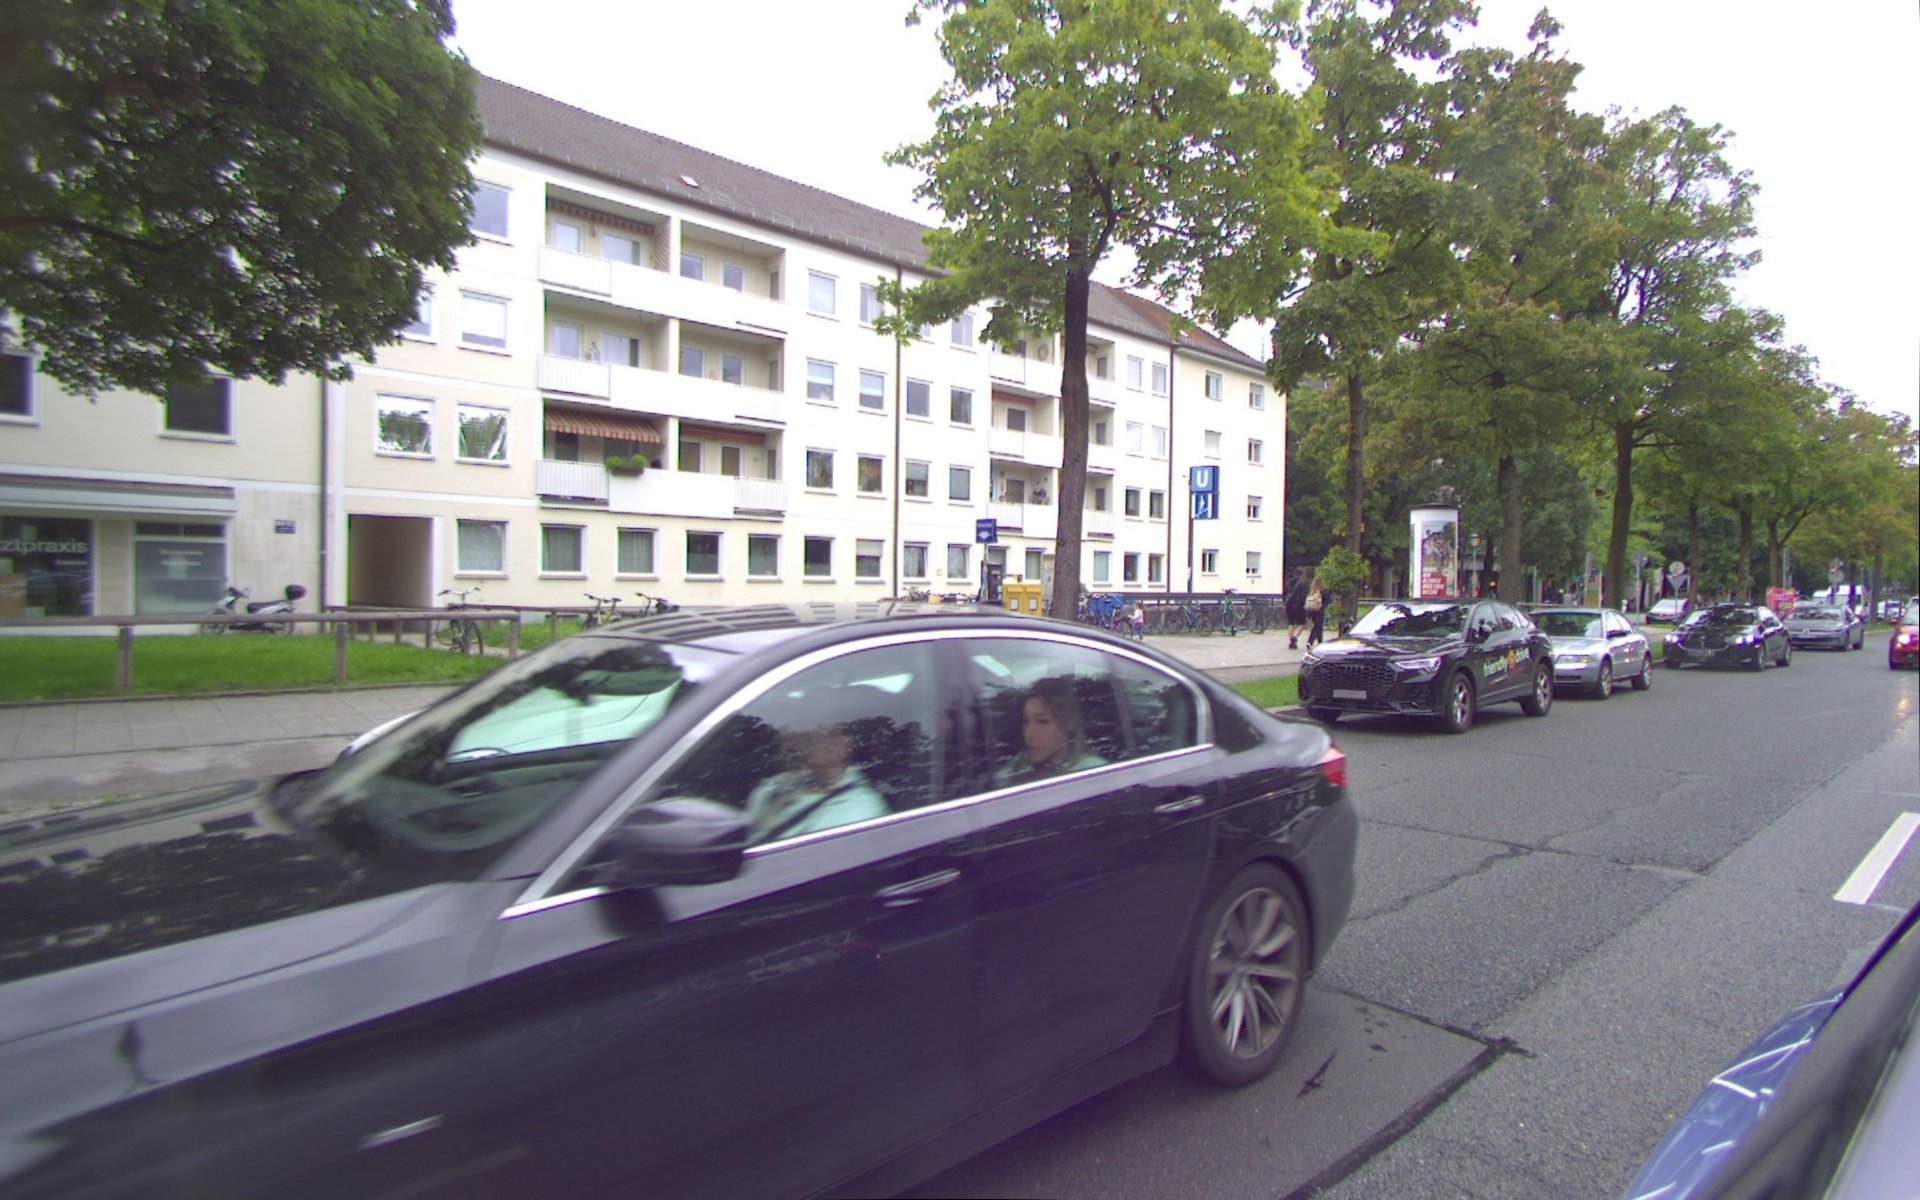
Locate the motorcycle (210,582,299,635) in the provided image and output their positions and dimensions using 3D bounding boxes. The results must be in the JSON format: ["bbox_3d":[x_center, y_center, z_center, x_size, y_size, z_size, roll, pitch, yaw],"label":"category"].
[{"bbox_3d":[-15.884,0.180,22.802,1.593,1.134,0.606,0,1,-41],"label":"motorcycle"}]

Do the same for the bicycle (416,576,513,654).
[{"bbox_3d":[-7.314,0.188,14.886,2.027,1.081,0.653,1,1,45],"label":"bicycle"}]

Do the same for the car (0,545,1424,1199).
[{"bbox_3d":[-0.626,0.693,2.853,4.610,1.496,1.824,0,-1,-42],"label":"car"}]

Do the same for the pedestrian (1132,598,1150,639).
[{"bbox_3d":[4.195,0.413,23.471,0.333,0.932,0.393,1,0,21],"label":"pedestrian"}]

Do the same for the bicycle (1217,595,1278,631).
[{"bbox_3d":[8.098,0.342,28.527,0.491,0.927,1.595,0,2,-45],"label":"bicycle"}]

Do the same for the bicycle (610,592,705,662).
[{"bbox_3d":[-5.128,0.424,17.103,2.027,1.081,0.653,1,1,45],"label":"bicycle"}]

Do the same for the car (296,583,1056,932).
[{"bbox_3d":[-1.514,0.662,6.318,4.213,1.455,1.824,0,-1,-41],"label":"car"}]

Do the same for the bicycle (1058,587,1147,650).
[{"bbox_3d":[2.870,0.354,20.223,2.039,1.203,0.545,0,1,-41],"label":"bicycle"}]

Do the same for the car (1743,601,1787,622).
[{"bbox_3d":[60.427,0.845,75.940,4.226,1.487,1.825,0,1,-41],"label":"car"}]

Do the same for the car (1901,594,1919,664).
[{"bbox_3d":[22.715,0.636,22.952,4.228,1.519,1.720,0,1,-43],"label":"car"}]

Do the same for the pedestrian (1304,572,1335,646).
[{"bbox_3d":[7.961,0.189,22.427,0.555,1.625,0.515,1,0,29],"label":"pedestrian"}]

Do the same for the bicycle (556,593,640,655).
[{"bbox_3d":[-6.738,0.417,18.783,2.027,1.081,0.653,1,1,45],"label":"bicycle"}]

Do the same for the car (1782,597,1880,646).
[{"bbox_3d":[28.078,0.640,32.597,4.226,1.487,1.825,0,1,-41],"label":"car"}]

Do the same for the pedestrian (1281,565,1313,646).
[{"bbox_3d":[7.587,0.111,22.764,0.555,1.778,0.651,1,0,29],"label":"pedestrian"}]

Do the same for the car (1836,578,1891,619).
[{"bbox_3d":[56.699,-0.143,63.490,4.913,2.485,1.997,-1,0,-41],"label":"car"}]

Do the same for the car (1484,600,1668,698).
[{"bbox_3d":[10.209,0.711,16.663,3.860,1.397,1.615,0,1,-43],"label":"car"}]

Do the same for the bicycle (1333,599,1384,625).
[{"bbox_3d":[12.411,0.361,31.536,1.389,0.722,0.491,4,3,45],"label":"bicycle"}]

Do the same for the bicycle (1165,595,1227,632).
[{"bbox_3d":[6.283,0.348,27.016,1.595,0.927,0.491,1,1,45],"label":"bicycle"}]

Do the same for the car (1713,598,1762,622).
[{"bbox_3d":[51.510,0.637,67.034,4.226,1.487,1.825,0,1,-41],"label":"car"}]

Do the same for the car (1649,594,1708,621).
[{"bbox_3d":[41.134,0.404,57.915,4.226,1.487,1.825,0,1,-41],"label":"car"}]

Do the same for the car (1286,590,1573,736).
[{"bbox_3d":[6.007,0.654,12.740,4.086,1.530,1.824,0,1,-42],"label":"car"}]

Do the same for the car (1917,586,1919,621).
[{"bbox_3d":[56.289,0.186,57.908,4.226,1.975,1.825,0,0,-41],"label":"car"}]

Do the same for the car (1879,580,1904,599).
[{"bbox_3d":[120.371,-1.334,130.799,4.915,2.485,1.996,0,1,-43],"label":"car"}]

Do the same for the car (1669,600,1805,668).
[{"bbox_3d":[17.912,0.715,23.262,4.228,1.397,1.824,0,1,-43],"label":"car"}]

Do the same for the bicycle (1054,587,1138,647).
[{"bbox_3d":[2.910,0.342,21.473,2.039,1.203,0.545,0,1,-41],"label":"bicycle"}]

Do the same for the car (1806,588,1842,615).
[{"bbox_3d":[81.326,0.092,95.227,4.915,2.485,1.996,0,1,-43],"label":"car"}]

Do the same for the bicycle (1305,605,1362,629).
[{"bbox_3d":[11.529,0.506,31.294,1.595,0.704,0.491,1,0,45],"label":"bicycle"}]

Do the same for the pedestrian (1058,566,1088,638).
[{"bbox_3d":[2.679,0.036,23.990,0.555,1.694,0.515,1,0,29],"label":"pedestrian"}]

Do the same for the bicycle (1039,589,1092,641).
[{"bbox_3d":[2.369,0.329,22.627,1.231,1.130,0.466,0,0,-41],"label":"bicycle"}]
